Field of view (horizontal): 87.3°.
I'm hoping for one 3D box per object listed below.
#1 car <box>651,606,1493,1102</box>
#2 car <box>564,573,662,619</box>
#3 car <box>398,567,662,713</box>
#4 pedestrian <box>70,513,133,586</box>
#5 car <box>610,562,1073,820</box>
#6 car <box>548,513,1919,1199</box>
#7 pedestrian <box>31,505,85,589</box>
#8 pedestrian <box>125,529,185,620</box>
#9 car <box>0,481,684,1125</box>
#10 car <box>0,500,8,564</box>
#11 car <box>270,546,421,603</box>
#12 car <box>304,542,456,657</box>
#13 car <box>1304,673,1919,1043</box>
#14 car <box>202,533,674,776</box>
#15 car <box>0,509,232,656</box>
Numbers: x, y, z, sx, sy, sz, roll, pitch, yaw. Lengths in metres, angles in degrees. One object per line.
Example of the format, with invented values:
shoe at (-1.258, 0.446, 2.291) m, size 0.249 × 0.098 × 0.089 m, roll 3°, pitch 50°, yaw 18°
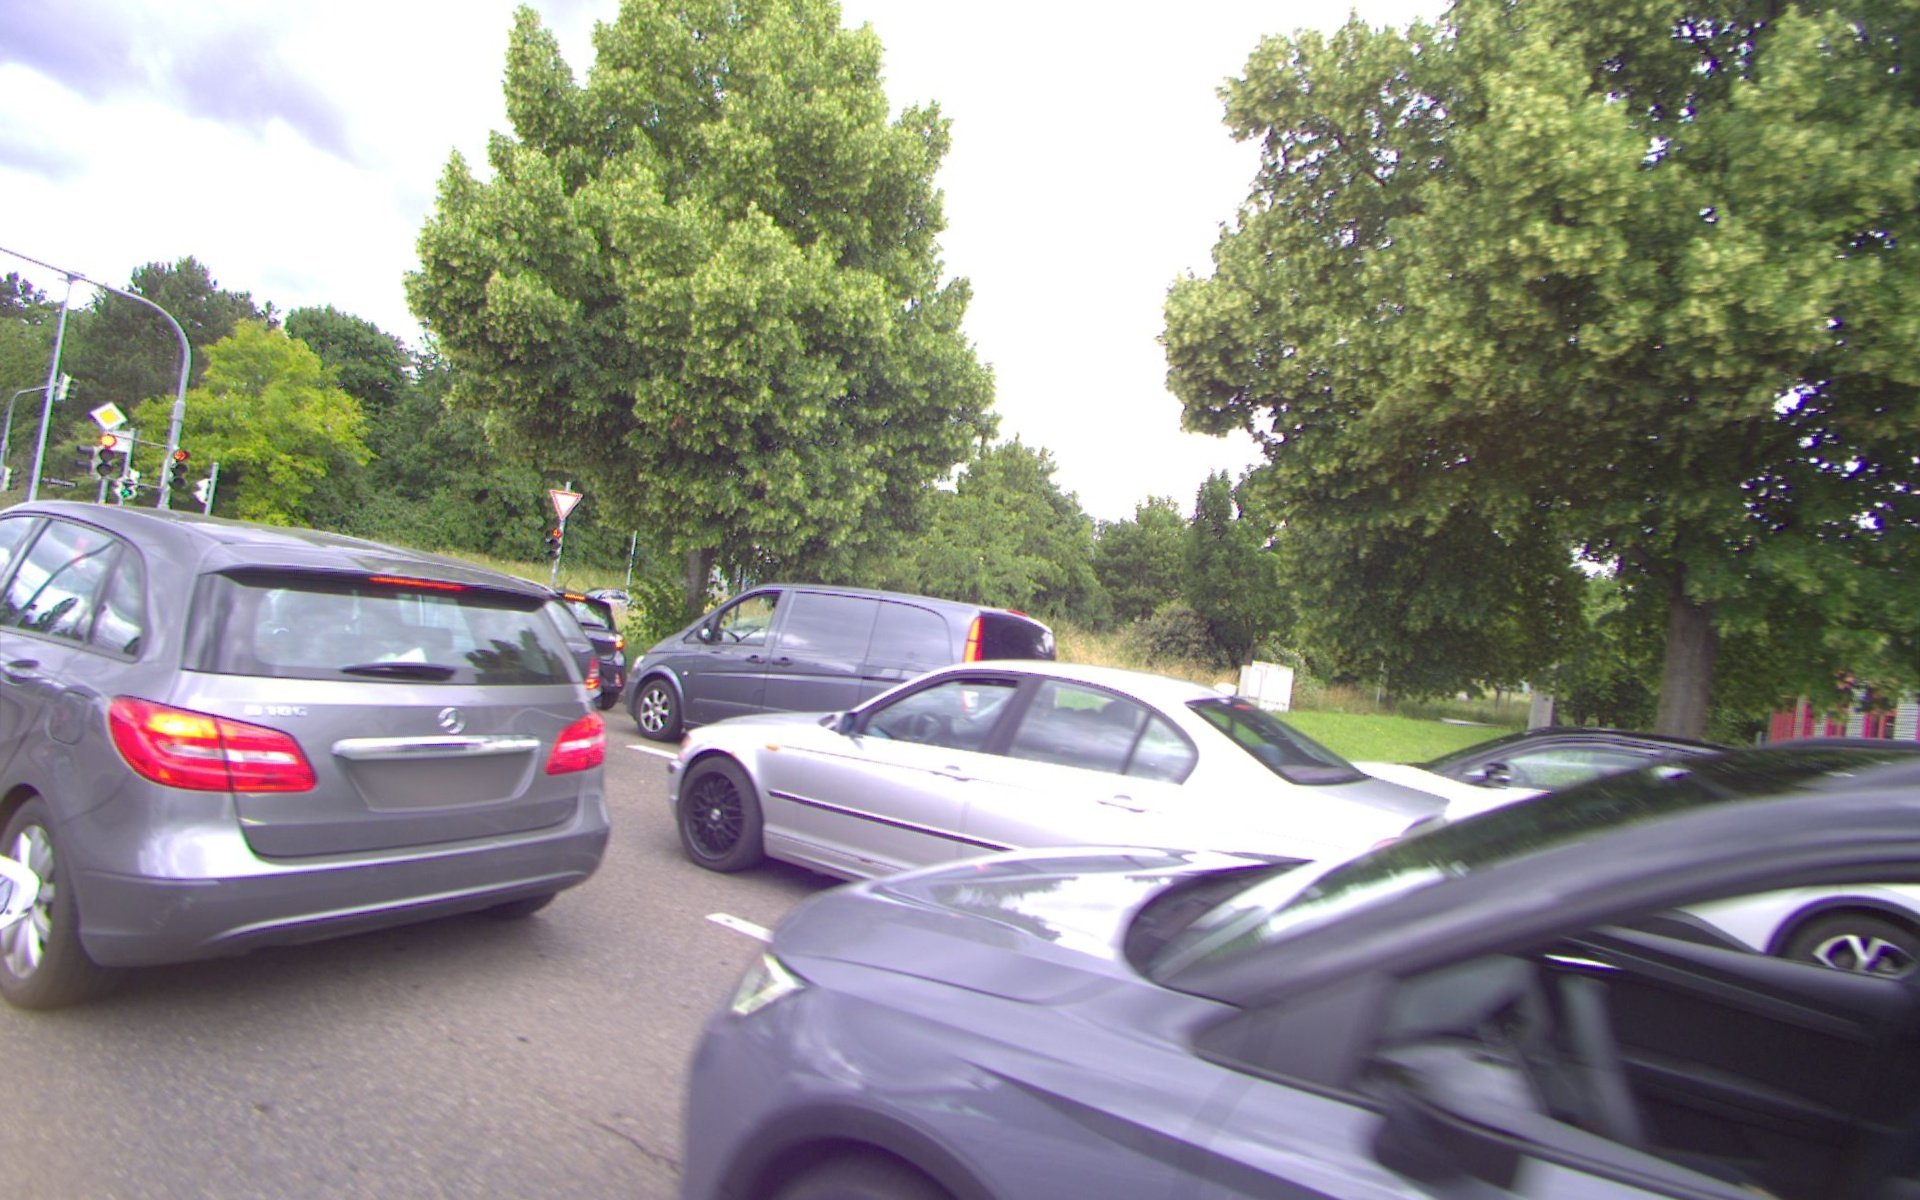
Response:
car at (0.464, 0.994, 5.464) m, size 4.051 × 1.370 × 1.814 m, roll 7°, pitch -1°, yaw 33°
car at (-16.471, -0.169, 47.861) m, size 1.809 × 1.620 × 3.991 m, roll 7°, pitch -1°, yaw 34°
car at (-5.860, 0.501, 13.569) m, size 3.584 × 1.454 × 1.515 m, roll 7°, pitch -2°, yaw 36°
pedestrian at (-20.223, -1.186, 23.708) m, size 0.509 × 1.579 × 0.865 m, roll 8°, pitch 0°, yaw 30°
car at (-1.323, 0.796, 10.390) m, size 4.432 × 1.825 × 1.827 m, roll 7°, pitch -1°, yaw 33°
car at (1.370, 0.858, 1.544) m, size 3.935 × 1.503 × 1.700 m, roll 7°, pitch -1°, yaw 33°
pedestrian at (-18.892, -1.103, 21.070) m, size 0.605 × 1.653 × 0.610 m, roll 6°, pitch -1°, yaw 41°
pedestrian at (-13.929, -0.436, 17.406) m, size 0.349 × 1.470 × 0.610 m, roll 7°, pitch -1°, yaw 40°
car at (-3.358, 0.388, 4.337) m, size 4.120 × 1.541 × 1.801 m, roll 7°, pitch -1°, yaw 34°
car at (-29.796, -2.274, 27.216) m, size 1.964 × 1.836 × 5.436 m, roll 5°, pitch -3°, yaw 24°
car at (-23.481, -0.952, 38.574) m, size 1.973 × 1.479 × 4.485 m, roll 7°, pitch -1°, yaw 42°
car at (-10.874, -0.077, 18.706) m, size 1.696 × 1.656 × 4.200 m, roll 11°, pitch -3°, yaw -38°
car at (4.422, 1.515, 6.715) m, size 3.622 × 1.514 × 1.644 m, roll 7°, pitch -1°, yaw 31°
car at (-4.762, 0.400, 9.014) m, size 4.144 × 1.452 × 1.828 m, roll 7°, pitch -1°, yaw 33°
car at (-10.920, -0.279, 12.476) m, size 3.933 × 1.420 × 1.548 m, roll 6°, pitch -1°, yaw 31°
